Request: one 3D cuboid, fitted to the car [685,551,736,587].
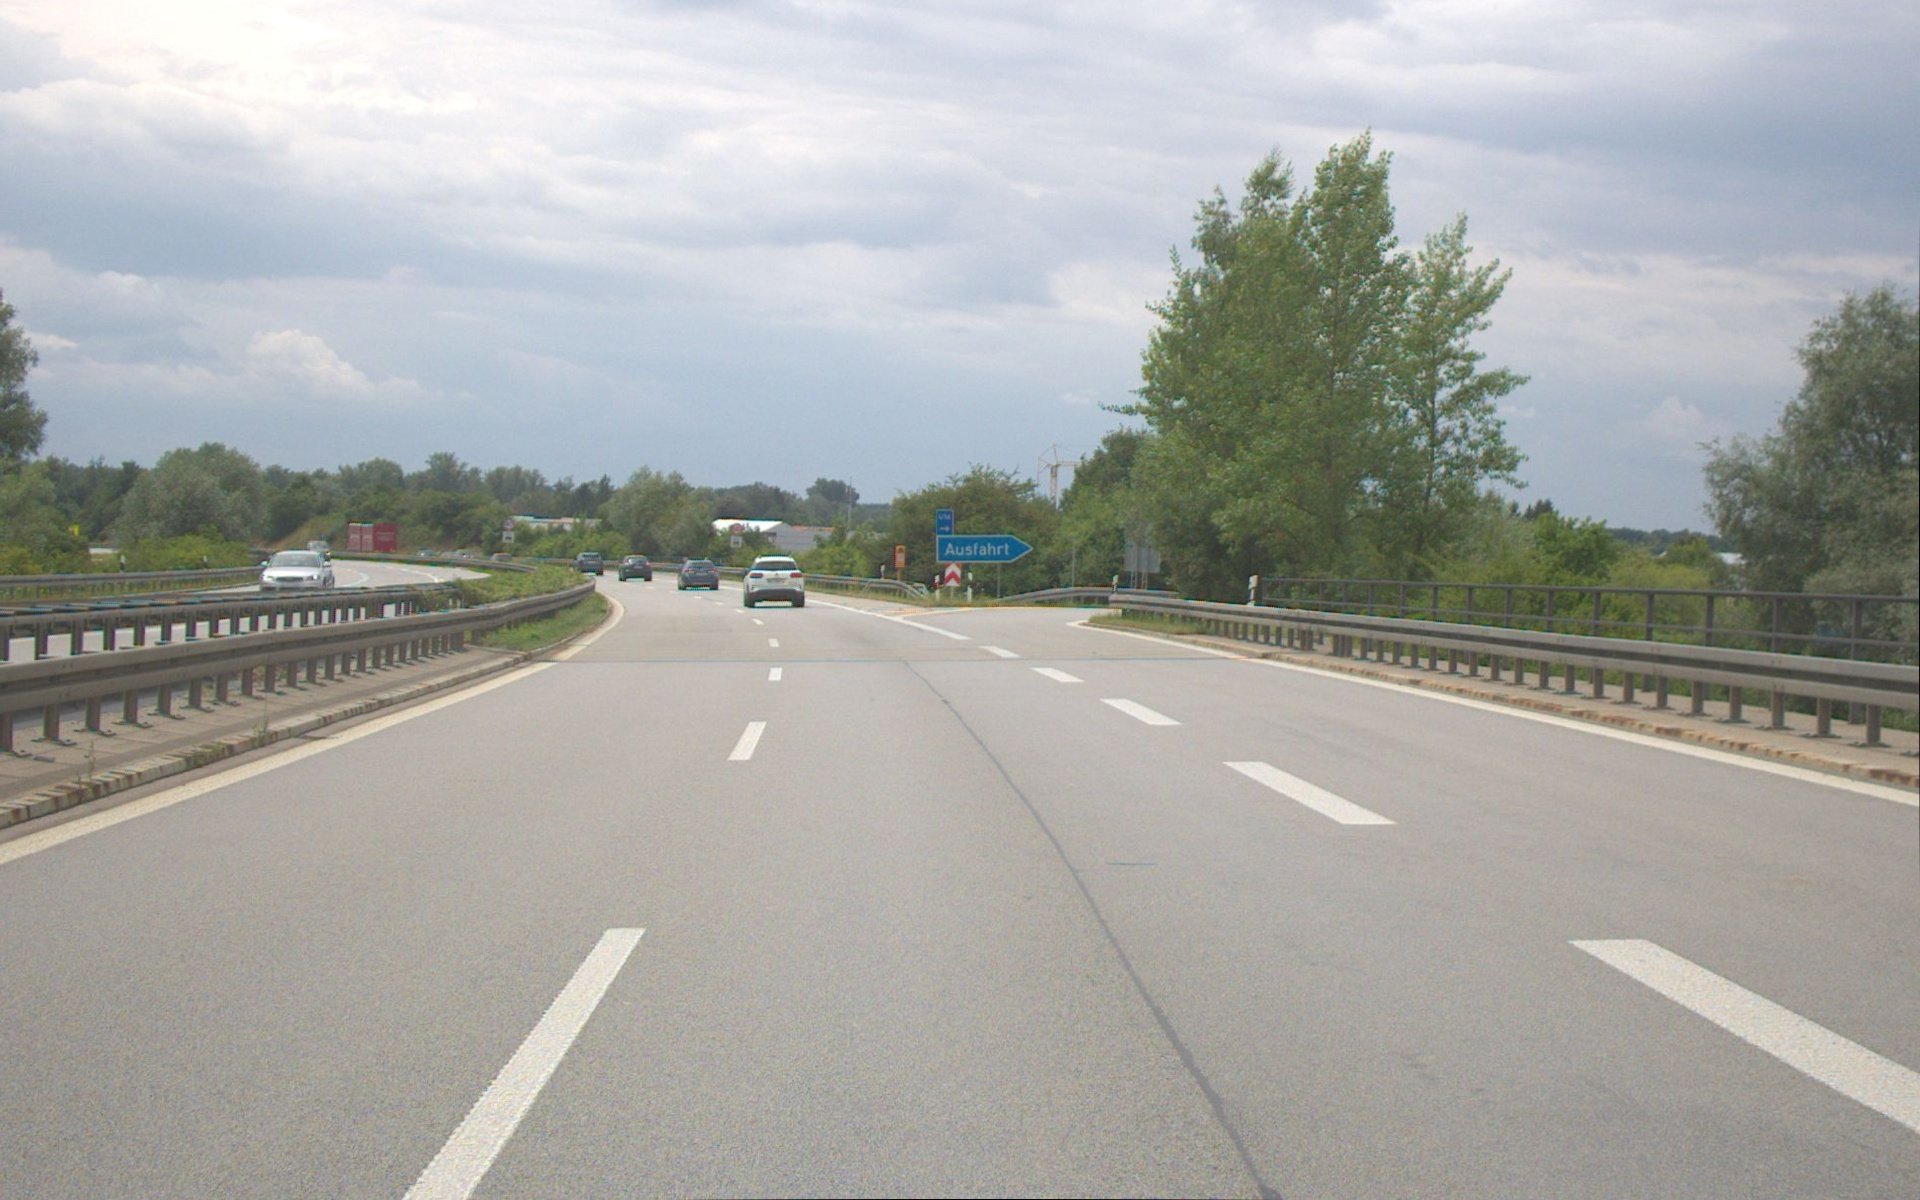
[{"bbox_3d":[-12.006,-1.484,165.380,1.892,1.634,4.623,1,1,-11],"label":"car"}]

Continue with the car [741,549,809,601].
[{"bbox_3d":[-6.075,-0.834,112.621,1.902,1.634,4.397,1,1,-7],"label":"car"}]

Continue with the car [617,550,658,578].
[{"bbox_3d":[-19.536,-2.177,208.208,1.902,1.634,4.781,1,1,-12],"label":"car"}]

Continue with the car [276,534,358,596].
[{"bbox_3d":[-18.421,-1.029,98.673,1.642,1.709,4.981,1,1,-3],"label":"car"}]

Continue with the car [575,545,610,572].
[{"bbox_3d":[-25.592,-2.882,239.543,1.826,1.787,4.415,1,1,-14],"label":"car"}]
